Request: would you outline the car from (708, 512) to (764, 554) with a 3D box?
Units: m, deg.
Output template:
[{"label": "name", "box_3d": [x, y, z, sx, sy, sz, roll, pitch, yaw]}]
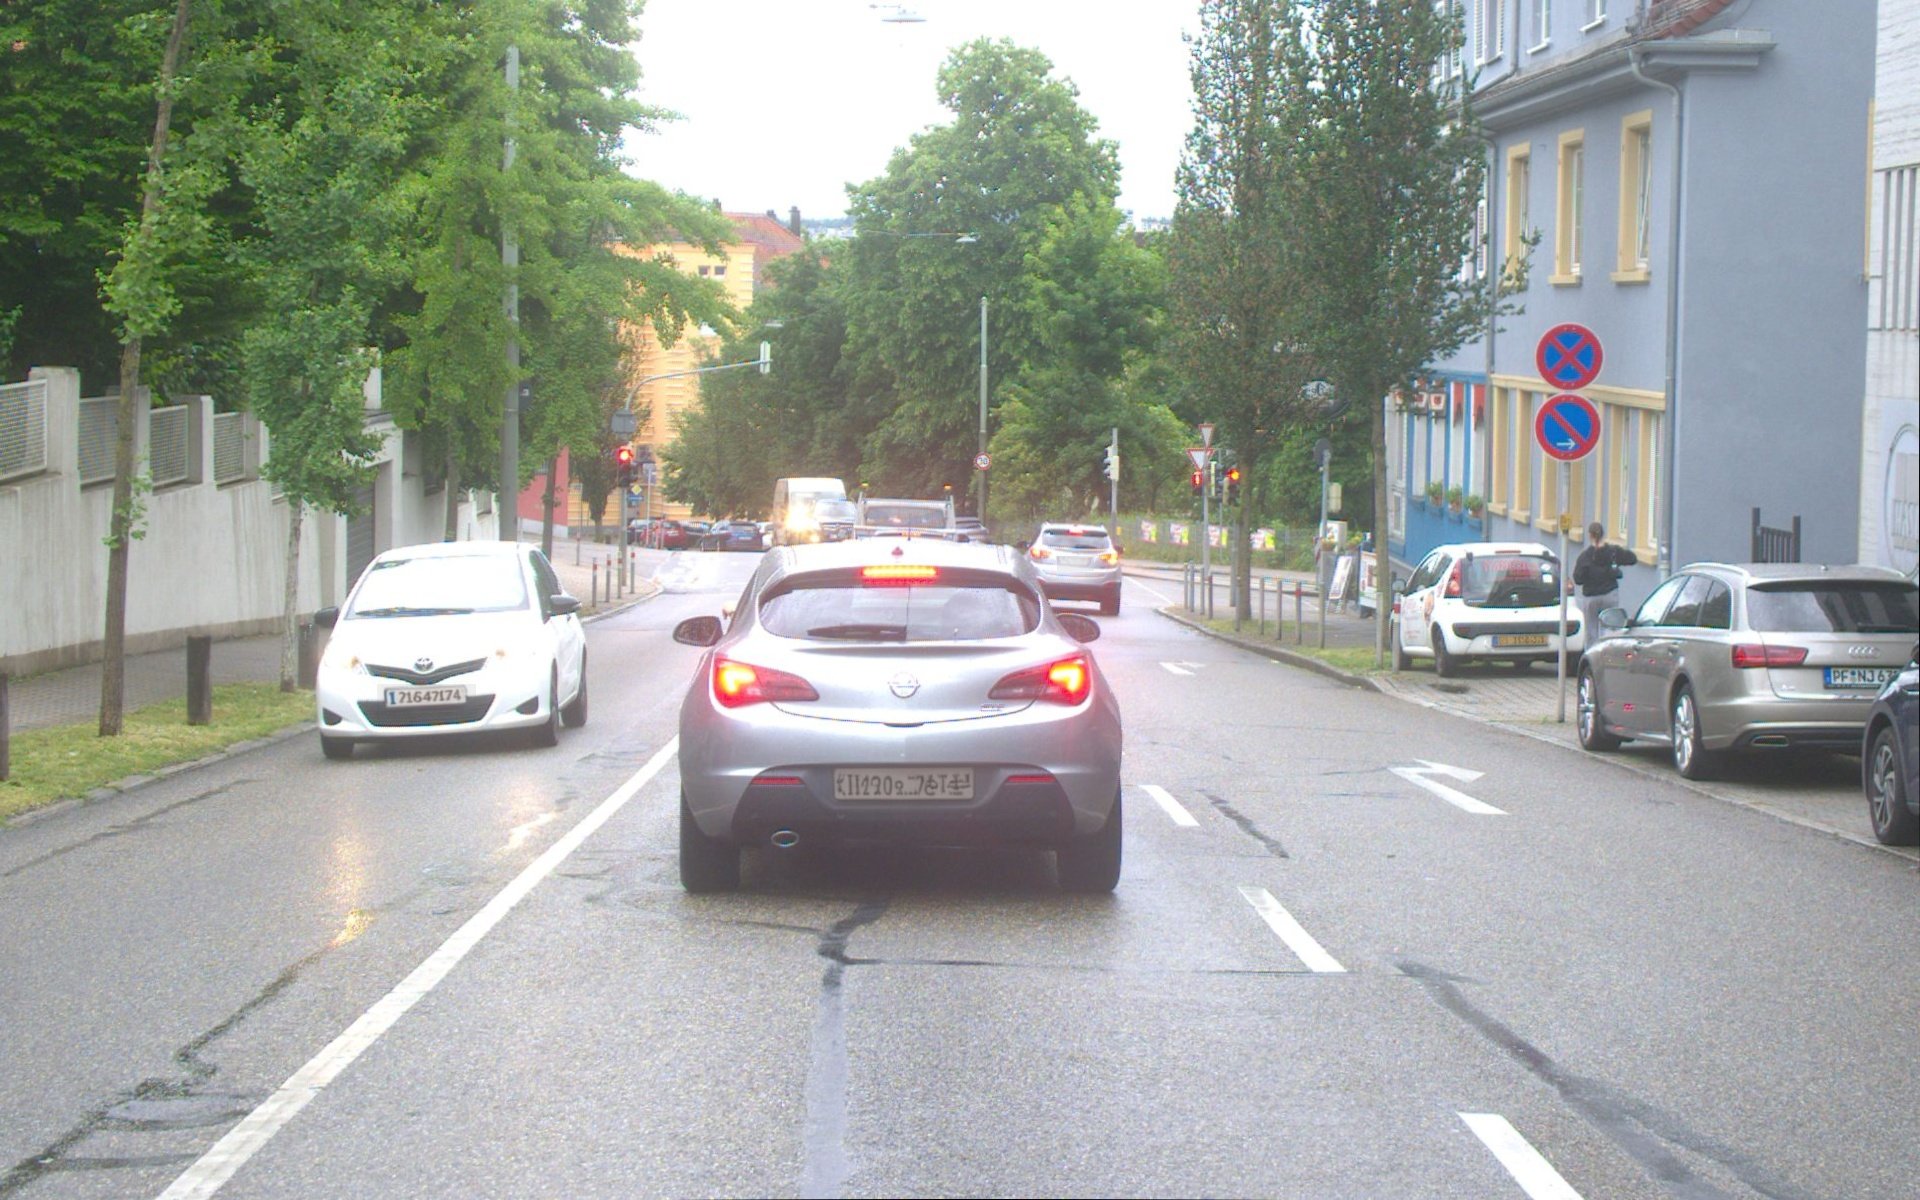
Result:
[{"label": "car", "box_3d": [-9.106, -2.726, 139.575, 1.722, 1.632, 3.881, 1, 1, -12]}]

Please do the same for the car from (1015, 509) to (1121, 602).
[{"label": "car", "box_3d": [2.024, -0.860, 65.429, 1.722, 1.708, 3.880, 0, 1, -3]}]

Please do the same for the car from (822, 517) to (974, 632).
[{"label": "car", "box_3d": [-0.891, -0.383, 47.394, 1.962, 1.443, 4.306, 2, 1, -2]}]

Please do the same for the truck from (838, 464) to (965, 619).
[{"label": "truck", "box_3d": [-1.011, -0.996, 57.385, 1.962, 2.420, 4.936, 2, 1, -2]}]

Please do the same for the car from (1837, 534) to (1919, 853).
[{"label": "car", "box_3d": [5.704, 0.489, 16.527, 1.728, 1.593, 4.162, 0, 1, -3]}]

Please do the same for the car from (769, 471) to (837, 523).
[{"label": "car", "box_3d": [-5.051, -3.307, 110.504, 1.722, 1.632, 3.881, 0, 1, -9]}]

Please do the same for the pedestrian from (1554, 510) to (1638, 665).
[{"label": "pedestrian", "box_3d": [7.253, -0.149, 39.237, 0.783, 1.723, 0.651, 2, 1, -1]}]

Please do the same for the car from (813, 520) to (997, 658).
[{"label": "car", "box_3d": [-0.673, -0.168, 39.735, 1.962, 1.443, 4.306, 2, 1, -2]}]

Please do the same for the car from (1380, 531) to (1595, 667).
[{"label": "car", "box_3d": [5.931, -0.049, 39.014, 1.722, 1.443, 3.880, 0, 1, -2]}]

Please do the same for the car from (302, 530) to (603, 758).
[{"label": "car", "box_3d": [-3.755, 0.268, 26.002, 1.709, 1.526, 3.842, -2, 1, -1]}]

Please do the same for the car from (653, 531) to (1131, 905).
[{"label": "car", "box_3d": [-0.349, 0.422, 15.261, 1.837, 1.429, 3.880, 1, 1, -3]}]

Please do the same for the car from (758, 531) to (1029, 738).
[{"label": "car", "box_3d": [-0.564, 0.212, 27.601, 1.962, 1.443, 4.306, 2, 1, -2]}]

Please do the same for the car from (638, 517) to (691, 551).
[{"label": "car", "box_3d": [-14.494, -3.255, 168.357, 1.722, 1.632, 3.881, -1, 1, -18]}]

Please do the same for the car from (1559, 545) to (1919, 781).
[{"label": "car", "box_3d": [5.684, 0.366, 24.135, 1.962, 1.443, 4.527, 0, 2, -3]}]

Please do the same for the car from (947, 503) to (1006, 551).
[{"label": "car", "box_3d": [0.564, -2.533, 119.191, 1.722, 1.632, 3.880, 0, 1, -4]}]

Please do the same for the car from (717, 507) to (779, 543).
[{"label": "car", "box_3d": [-9.238, -3.252, 149.601, 1.722, 1.538, 3.881, -1, 1, -18]}]

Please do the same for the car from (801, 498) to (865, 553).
[{"label": "car", "box_3d": [-3.788, -2.228, 102.887, 1.870, 1.632, 3.880, 0, 1, -2]}]
